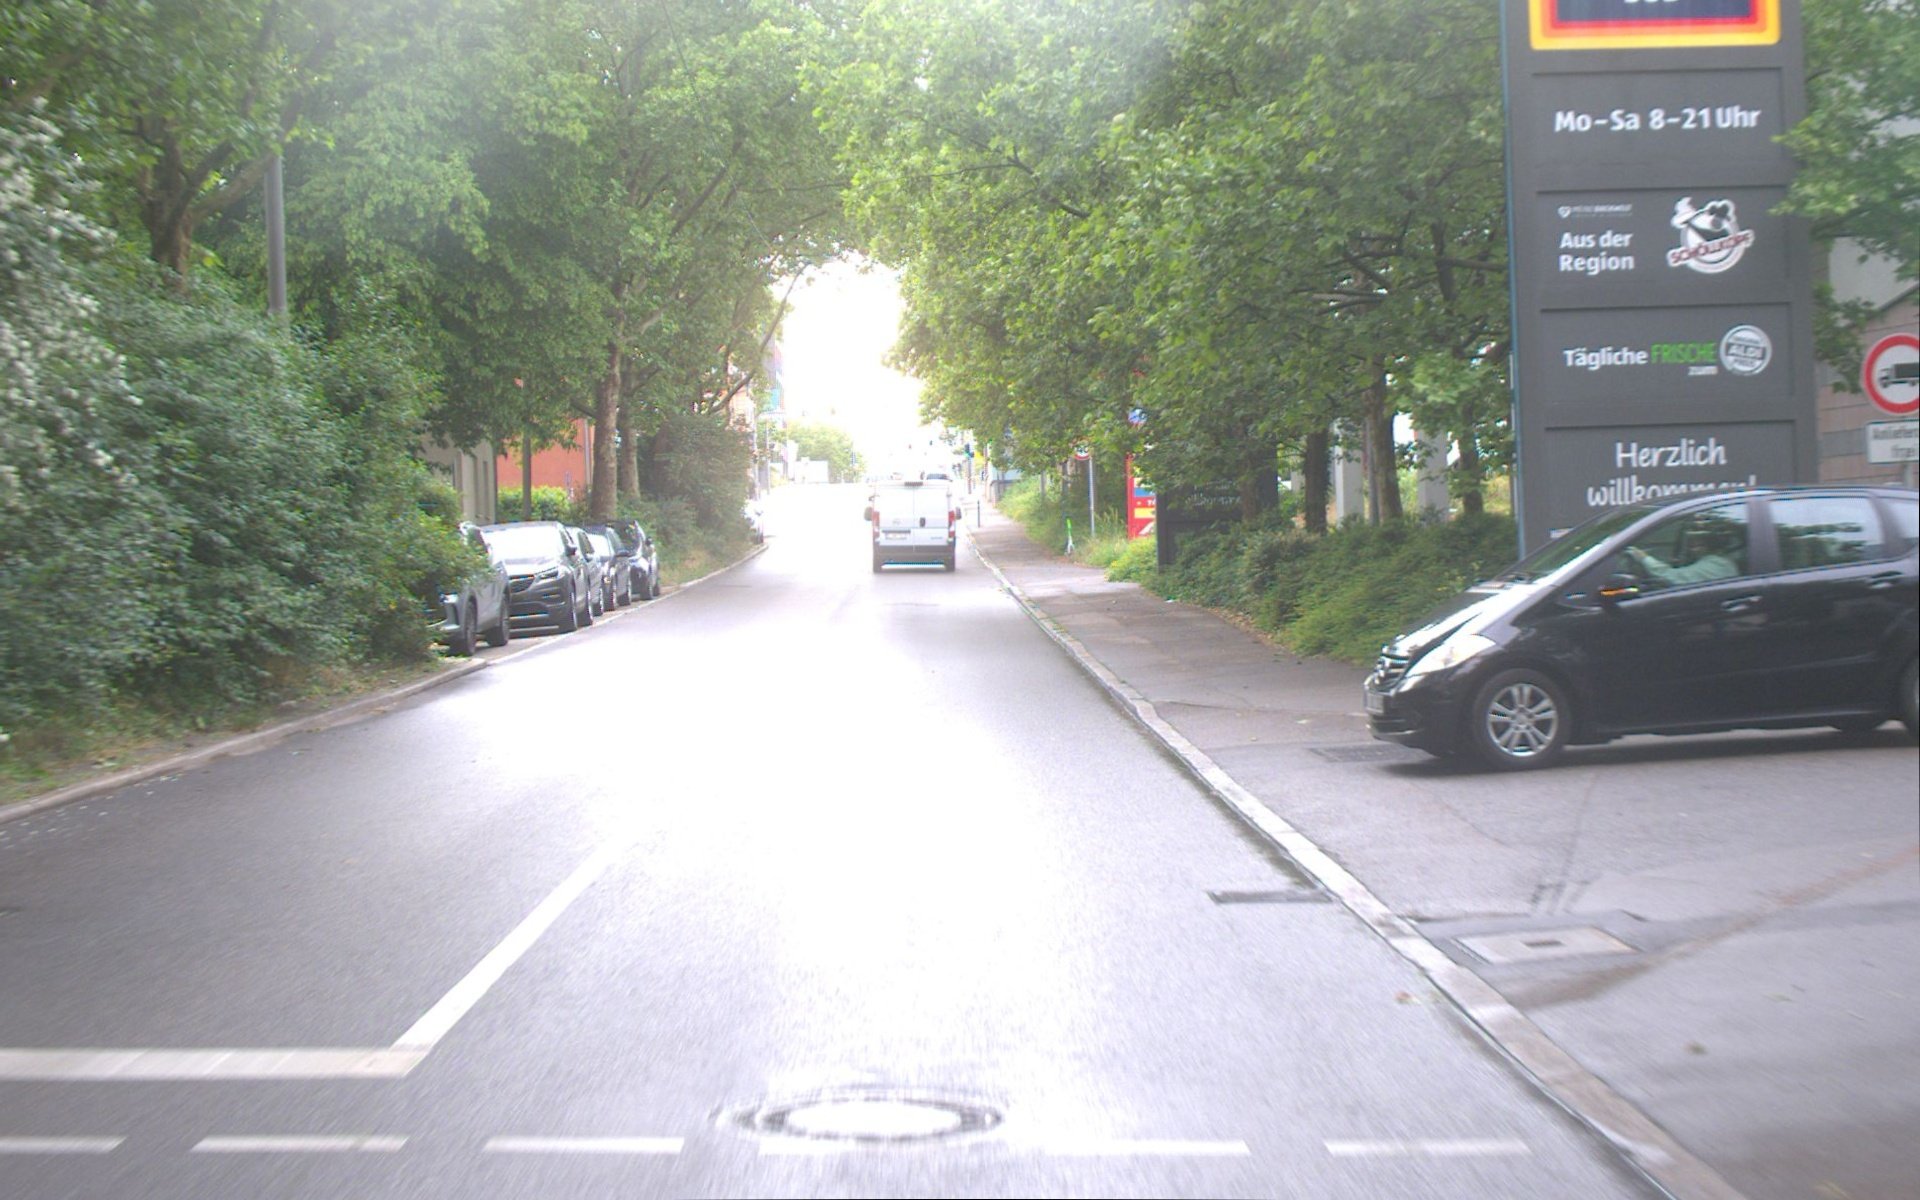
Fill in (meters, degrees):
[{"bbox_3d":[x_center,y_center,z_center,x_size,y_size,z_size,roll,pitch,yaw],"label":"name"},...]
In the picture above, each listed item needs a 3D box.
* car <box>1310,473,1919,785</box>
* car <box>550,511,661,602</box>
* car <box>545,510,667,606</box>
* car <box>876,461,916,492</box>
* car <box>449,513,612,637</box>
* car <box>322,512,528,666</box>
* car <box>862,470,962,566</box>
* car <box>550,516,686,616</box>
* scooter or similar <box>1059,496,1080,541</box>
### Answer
[{"bbox_3d":[4.252,0.120,20.613,3.848,1.542,2.027,-4,1,-6],"label":"car"},{"bbox_3d":[-6.699,-0.858,65.301,1.647,1.532,4.019,-5,2,-1],"label":"car"},{"bbox_3d":[-6.066,-0.743,59.242,1.672,1.503,3.874,2,2,0],"label":"car"},{"bbox_3d":[-3.924,-7.599,211.917,2.159,1.703,3.873,0,0,4],"label":"car"},{"bbox_3d":[-6.098,-0.396,49.263,1.864,1.585,4.240,-4,2,-2],"label":"car"},{"bbox_3d":[-6.751,-0.191,43.790,1.734,1.651,4.564,-5,2,1],"label":"car"},{"bbox_3d":[-1.149,-1.994,84.810,2.336,2.223,4.000,-2,1,0],"label":"car"},{"bbox_3d":[-5.371,-0.573,54.352,1.672,1.503,4.123,0,2,1],"label":"car"},{"bbox_3d":[2.873,-2.124,90.097,0.425,1.138,1.529,0,0,-2],"label":"scooter or similar"}]
